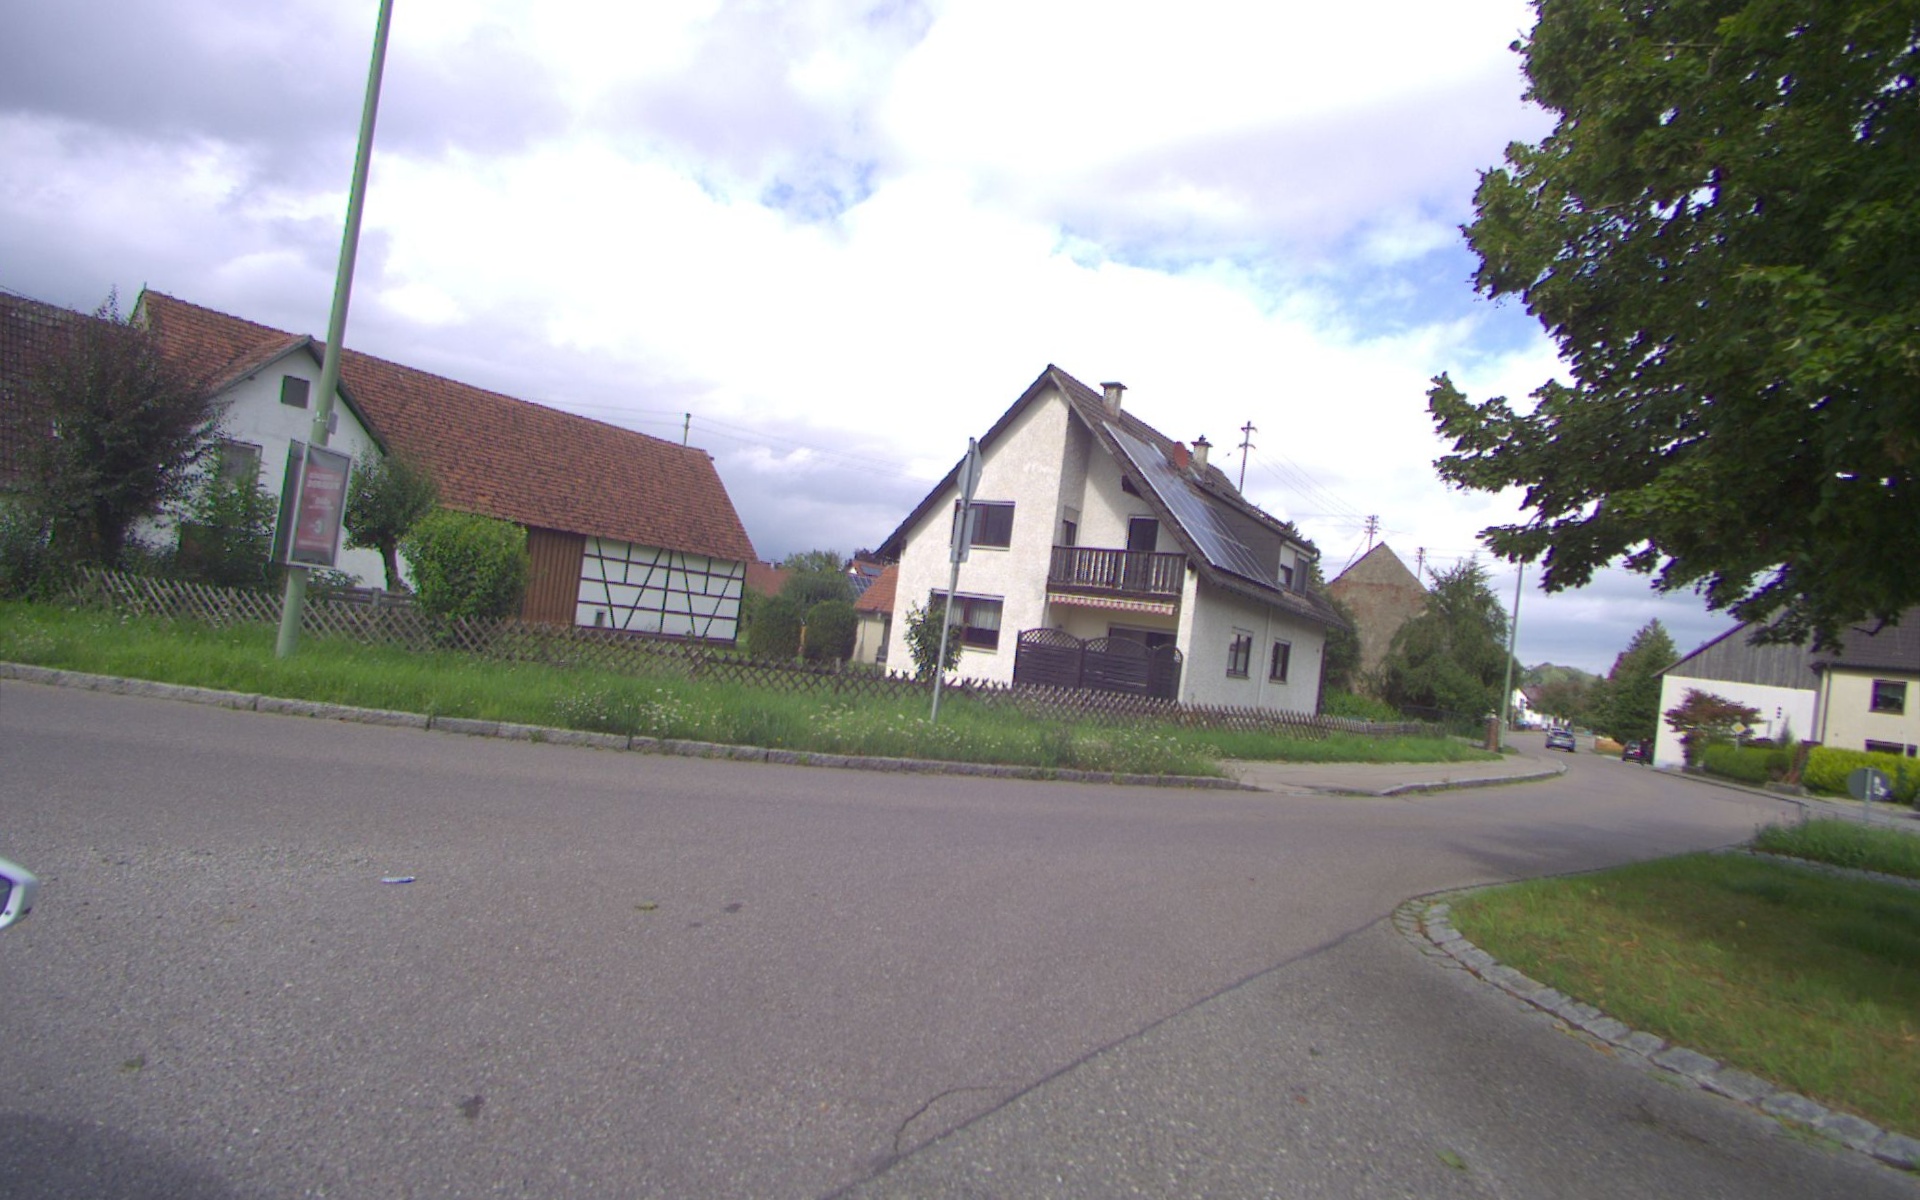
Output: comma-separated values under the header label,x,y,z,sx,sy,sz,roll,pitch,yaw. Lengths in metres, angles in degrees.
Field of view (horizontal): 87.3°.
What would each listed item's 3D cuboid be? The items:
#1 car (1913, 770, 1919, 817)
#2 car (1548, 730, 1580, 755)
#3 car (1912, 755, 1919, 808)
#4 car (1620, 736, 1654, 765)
label,x,y,z,sx,sy,sz,roll,pitch,yaw
car,32.238,6.270,31.068,3.850,1.419,1.696,3,-3,38
car,46.682,10.960,77.682,1.704,1.625,3.990,6,-2,36
car,33.948,6.208,32.915,1.690,1.719,3.864,7,-3,-41
car,46.591,10.320,69.247,1.704,1.625,3.990,6,-2,36
